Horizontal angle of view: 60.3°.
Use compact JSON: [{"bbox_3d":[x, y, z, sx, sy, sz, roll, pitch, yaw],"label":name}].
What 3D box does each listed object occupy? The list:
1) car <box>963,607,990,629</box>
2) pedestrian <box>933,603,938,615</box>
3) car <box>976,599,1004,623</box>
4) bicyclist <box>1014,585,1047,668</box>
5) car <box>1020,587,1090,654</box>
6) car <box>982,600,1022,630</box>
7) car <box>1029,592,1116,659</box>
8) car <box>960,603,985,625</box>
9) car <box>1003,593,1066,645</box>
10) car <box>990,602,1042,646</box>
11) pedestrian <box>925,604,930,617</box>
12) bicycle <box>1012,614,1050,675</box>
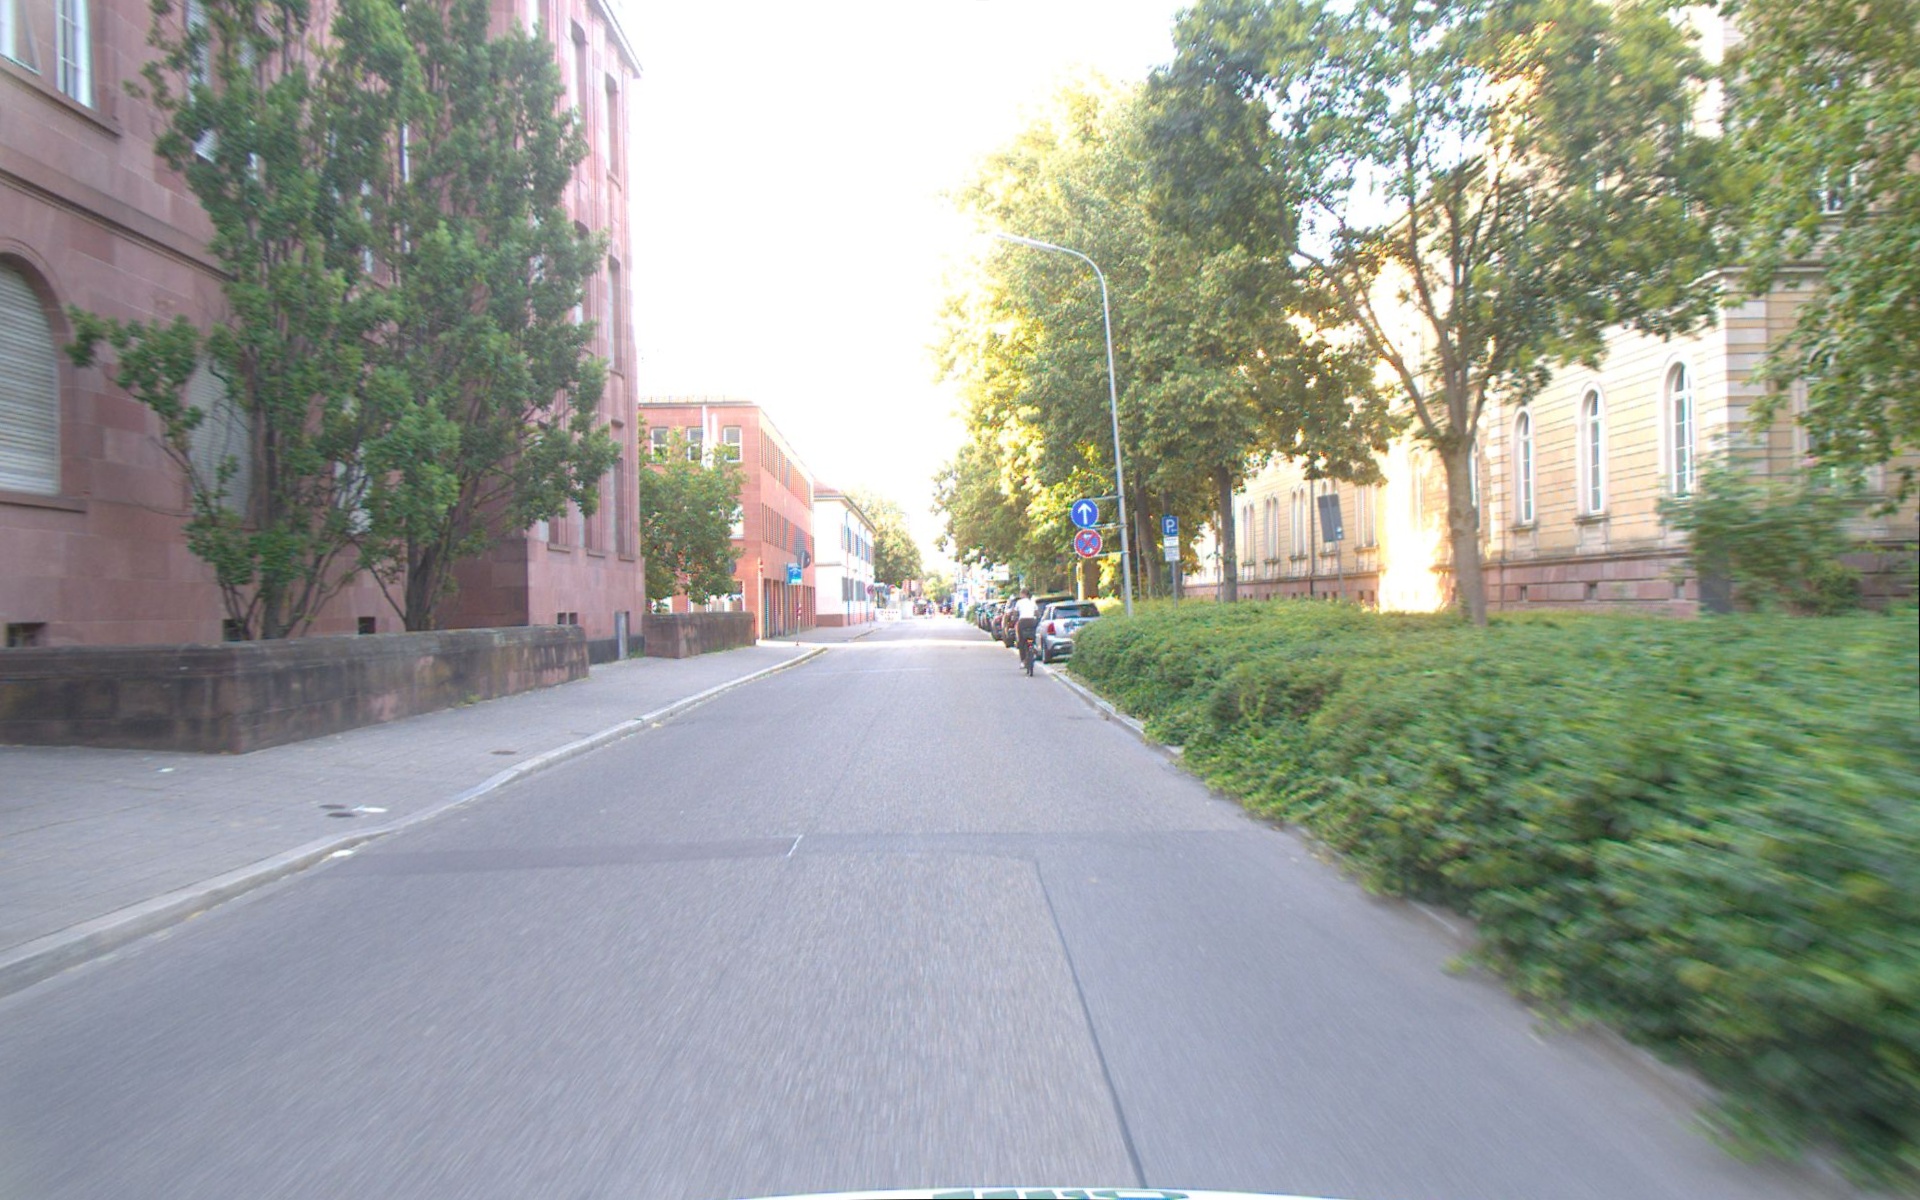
[{"bbox_3d":[1.466,1.658,150.902,2.235,1.886,4.908,-2,0,-2],"label":"car"},{"bbox_3d":[-3.039,1.150,205.124,0.523,1.497,0.448,-2,0,-3],"label":"pedestrian"},{"bbox_3d":[2.299,0.838,128.953,1.953,1.779,3.999,-2,0,-2],"label":"car"},{"bbox_3d":[1.455,0.541,34.268,0.626,1.696,0.842,0,-1,-2],"label":"bicyclist"},{"bbox_3d":[2.650,0.547,47.032,1.680,1.742,4.472,-2,0,0],"label":"car"},{"bbox_3d":[2.324,0.833,92.408,1.953,1.612,3.999,-2,0,-2],"label":"car"},{"bbox_3d":[2.725,0.634,40.707,1.652,1.472,3.670,-4,-1,-2],"label":"car"},{"bbox_3d":[1.291,1.487,178.590,2.443,2.234,4.908,-2,0,-2],"label":"car"},{"bbox_3d":[2.415,0.592,54.179,1.681,1.564,4.046,-2,0,-2],"label":"car"},{"bbox_3d":[2.351,1.010,70.478,1.953,1.735,3.999,-2,0,-2],"label":"car"},{"bbox_3d":[-4.053,1.296,205.227,0.523,1.497,0.448,-2,0,-3],"label":"pedestrian"},{"bbox_3d":[1.454,0.911,34.238,0.625,1.214,1.875,0,0,-2],"label":"bicycle"}]
